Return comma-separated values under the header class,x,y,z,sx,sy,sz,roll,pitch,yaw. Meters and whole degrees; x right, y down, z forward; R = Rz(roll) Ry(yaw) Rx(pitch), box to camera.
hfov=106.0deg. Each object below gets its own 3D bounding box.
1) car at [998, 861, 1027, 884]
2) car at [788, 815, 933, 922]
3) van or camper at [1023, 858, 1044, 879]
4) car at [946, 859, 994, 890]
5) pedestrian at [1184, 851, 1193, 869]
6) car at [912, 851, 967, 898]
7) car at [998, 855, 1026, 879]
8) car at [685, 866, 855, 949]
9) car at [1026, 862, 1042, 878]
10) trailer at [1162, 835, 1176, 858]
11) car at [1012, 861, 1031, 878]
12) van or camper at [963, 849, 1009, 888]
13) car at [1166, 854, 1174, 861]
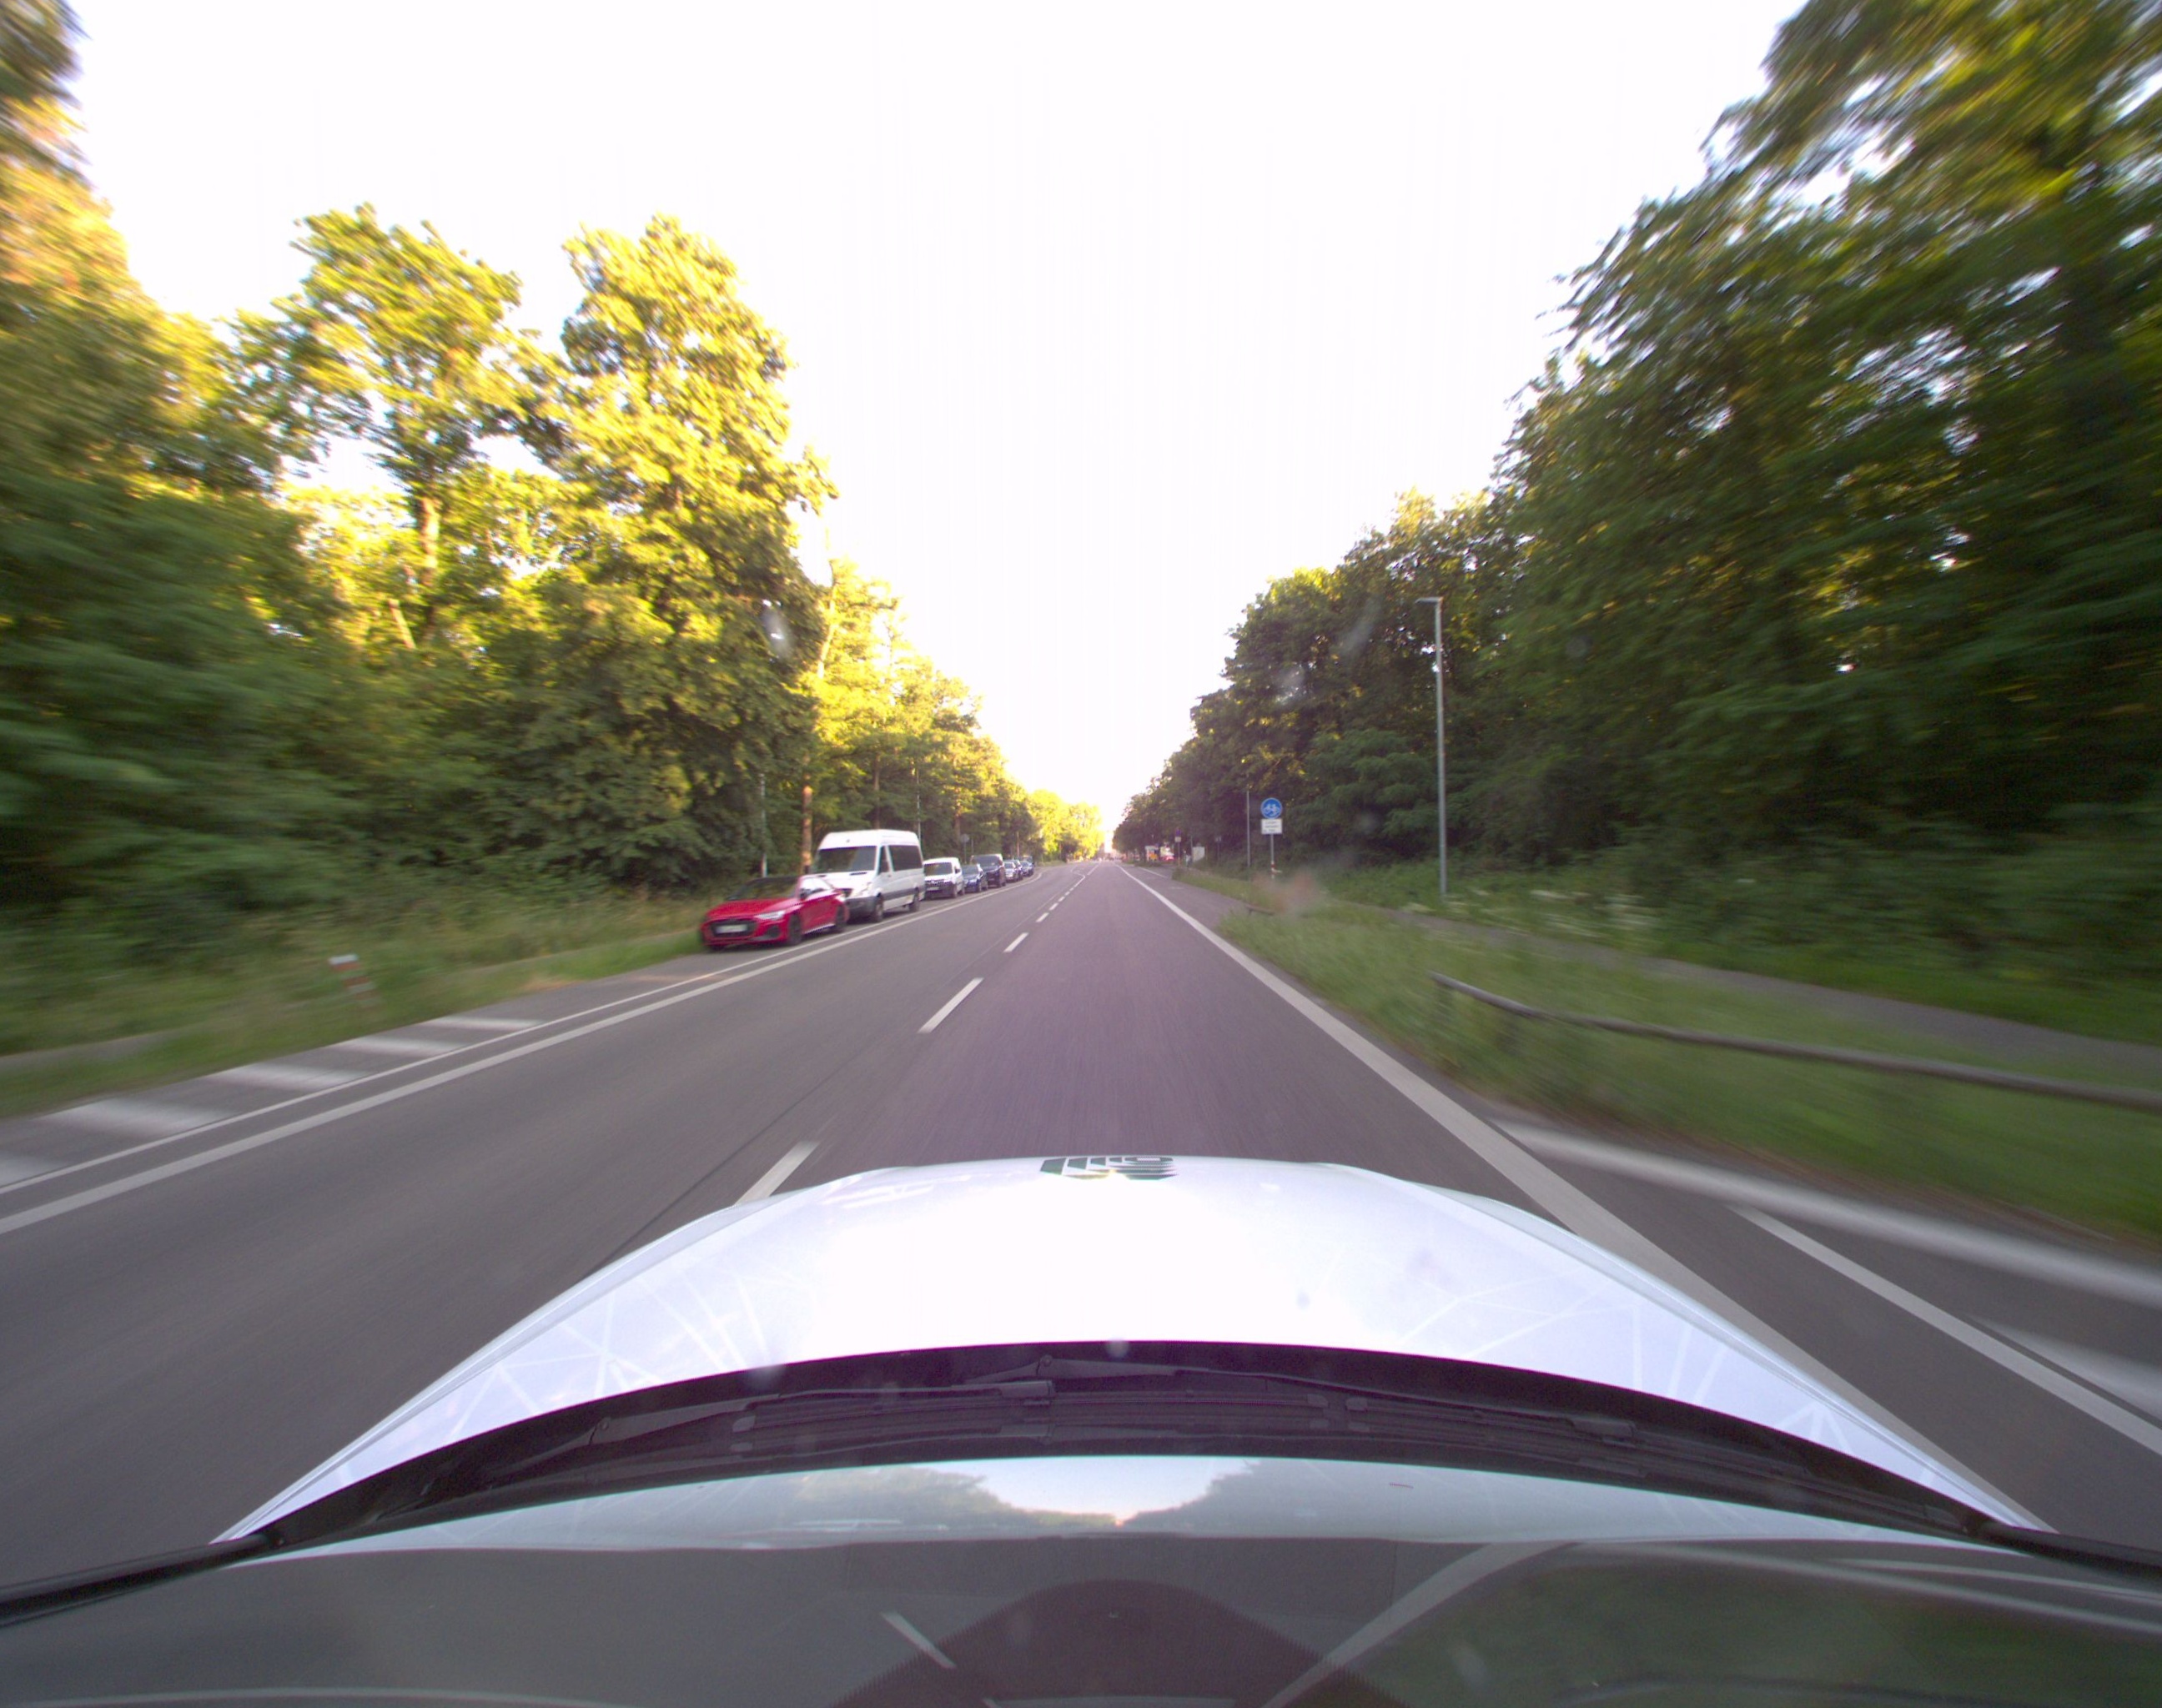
class,x,y,z,sx,sy,sz,roll,pitch,yaw
car,-4.868,1.266,58.194,1.663,1.501,4.245,-3,0,0
car,-6.311,0.391,24.464,2.071,2.606,7.091,-4,0,2
van or camper,-5.107,1.528,88.574,2.026,2.094,5.010,-3,0,-2
car,-5.641,1.022,41.987,1.663,1.433,4.448,-3,0,2
pedestrian,10.779,0.618,81.856,0.835,1.751,0.726,-1,-1,2
car,-6.300,0.887,36.639,1.683,1.858,4.385,-4,0,-1
car,-5.363,0.977,63.647,1.739,1.712,4.522,-3,0,0
car,-6.450,1.039,17.479,1.709,1.430,4.391,-3,0,3
car,-4.722,1.592,81.612,1.540,1.493,3.965,-3,0,-4
trailer,21.747,-1.754,201.637,3.008,5.462,7.940,-1,0,3
car,-5.593,1.430,76.716,1.613,1.534,4.035,-3,0,-3
van or camper,-5.549,0.825,48.263,1.996,2.018,5.460,-4,0,0
car,20.735,0.901,188.939,1.761,1.583,4.826,0,-1,6
